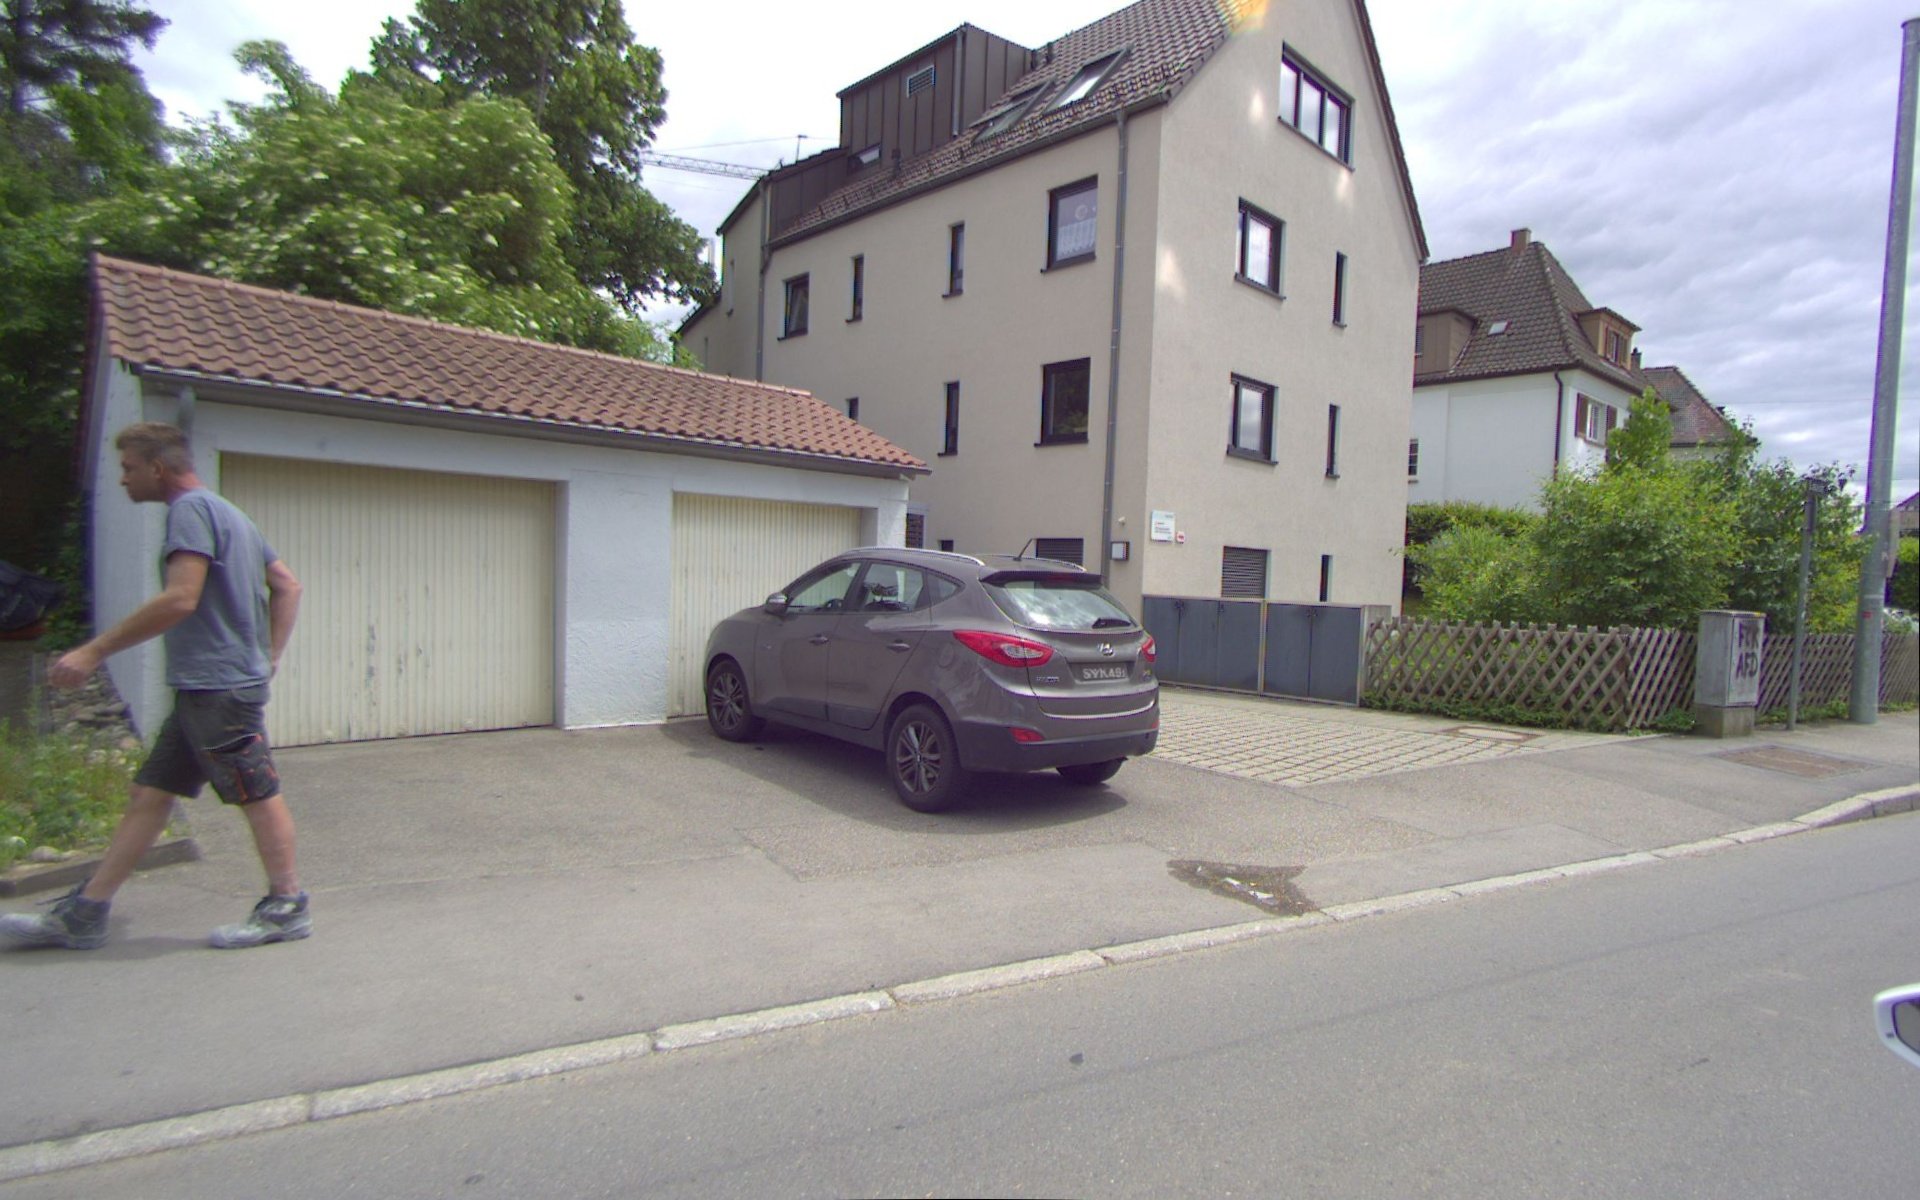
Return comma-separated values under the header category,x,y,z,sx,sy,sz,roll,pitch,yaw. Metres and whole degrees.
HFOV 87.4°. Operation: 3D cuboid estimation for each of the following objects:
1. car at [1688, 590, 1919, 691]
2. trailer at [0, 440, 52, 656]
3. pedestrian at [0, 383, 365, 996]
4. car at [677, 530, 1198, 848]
category,x,y,z,sx,sy,sz,roll,pitch,yaw
car,15.891,0.687,18.413,1.797,1.453,3.651,2,3,-32
trailer,-9.901,-0.478,9.020,1.685,2.108,4.834,0,4,-32
pedestrian,-2.942,0.288,3.674,1.201,1.972,0.730,2,3,-26
car,-0.462,0.414,7.950,1.783,1.718,4.274,1,4,-40
